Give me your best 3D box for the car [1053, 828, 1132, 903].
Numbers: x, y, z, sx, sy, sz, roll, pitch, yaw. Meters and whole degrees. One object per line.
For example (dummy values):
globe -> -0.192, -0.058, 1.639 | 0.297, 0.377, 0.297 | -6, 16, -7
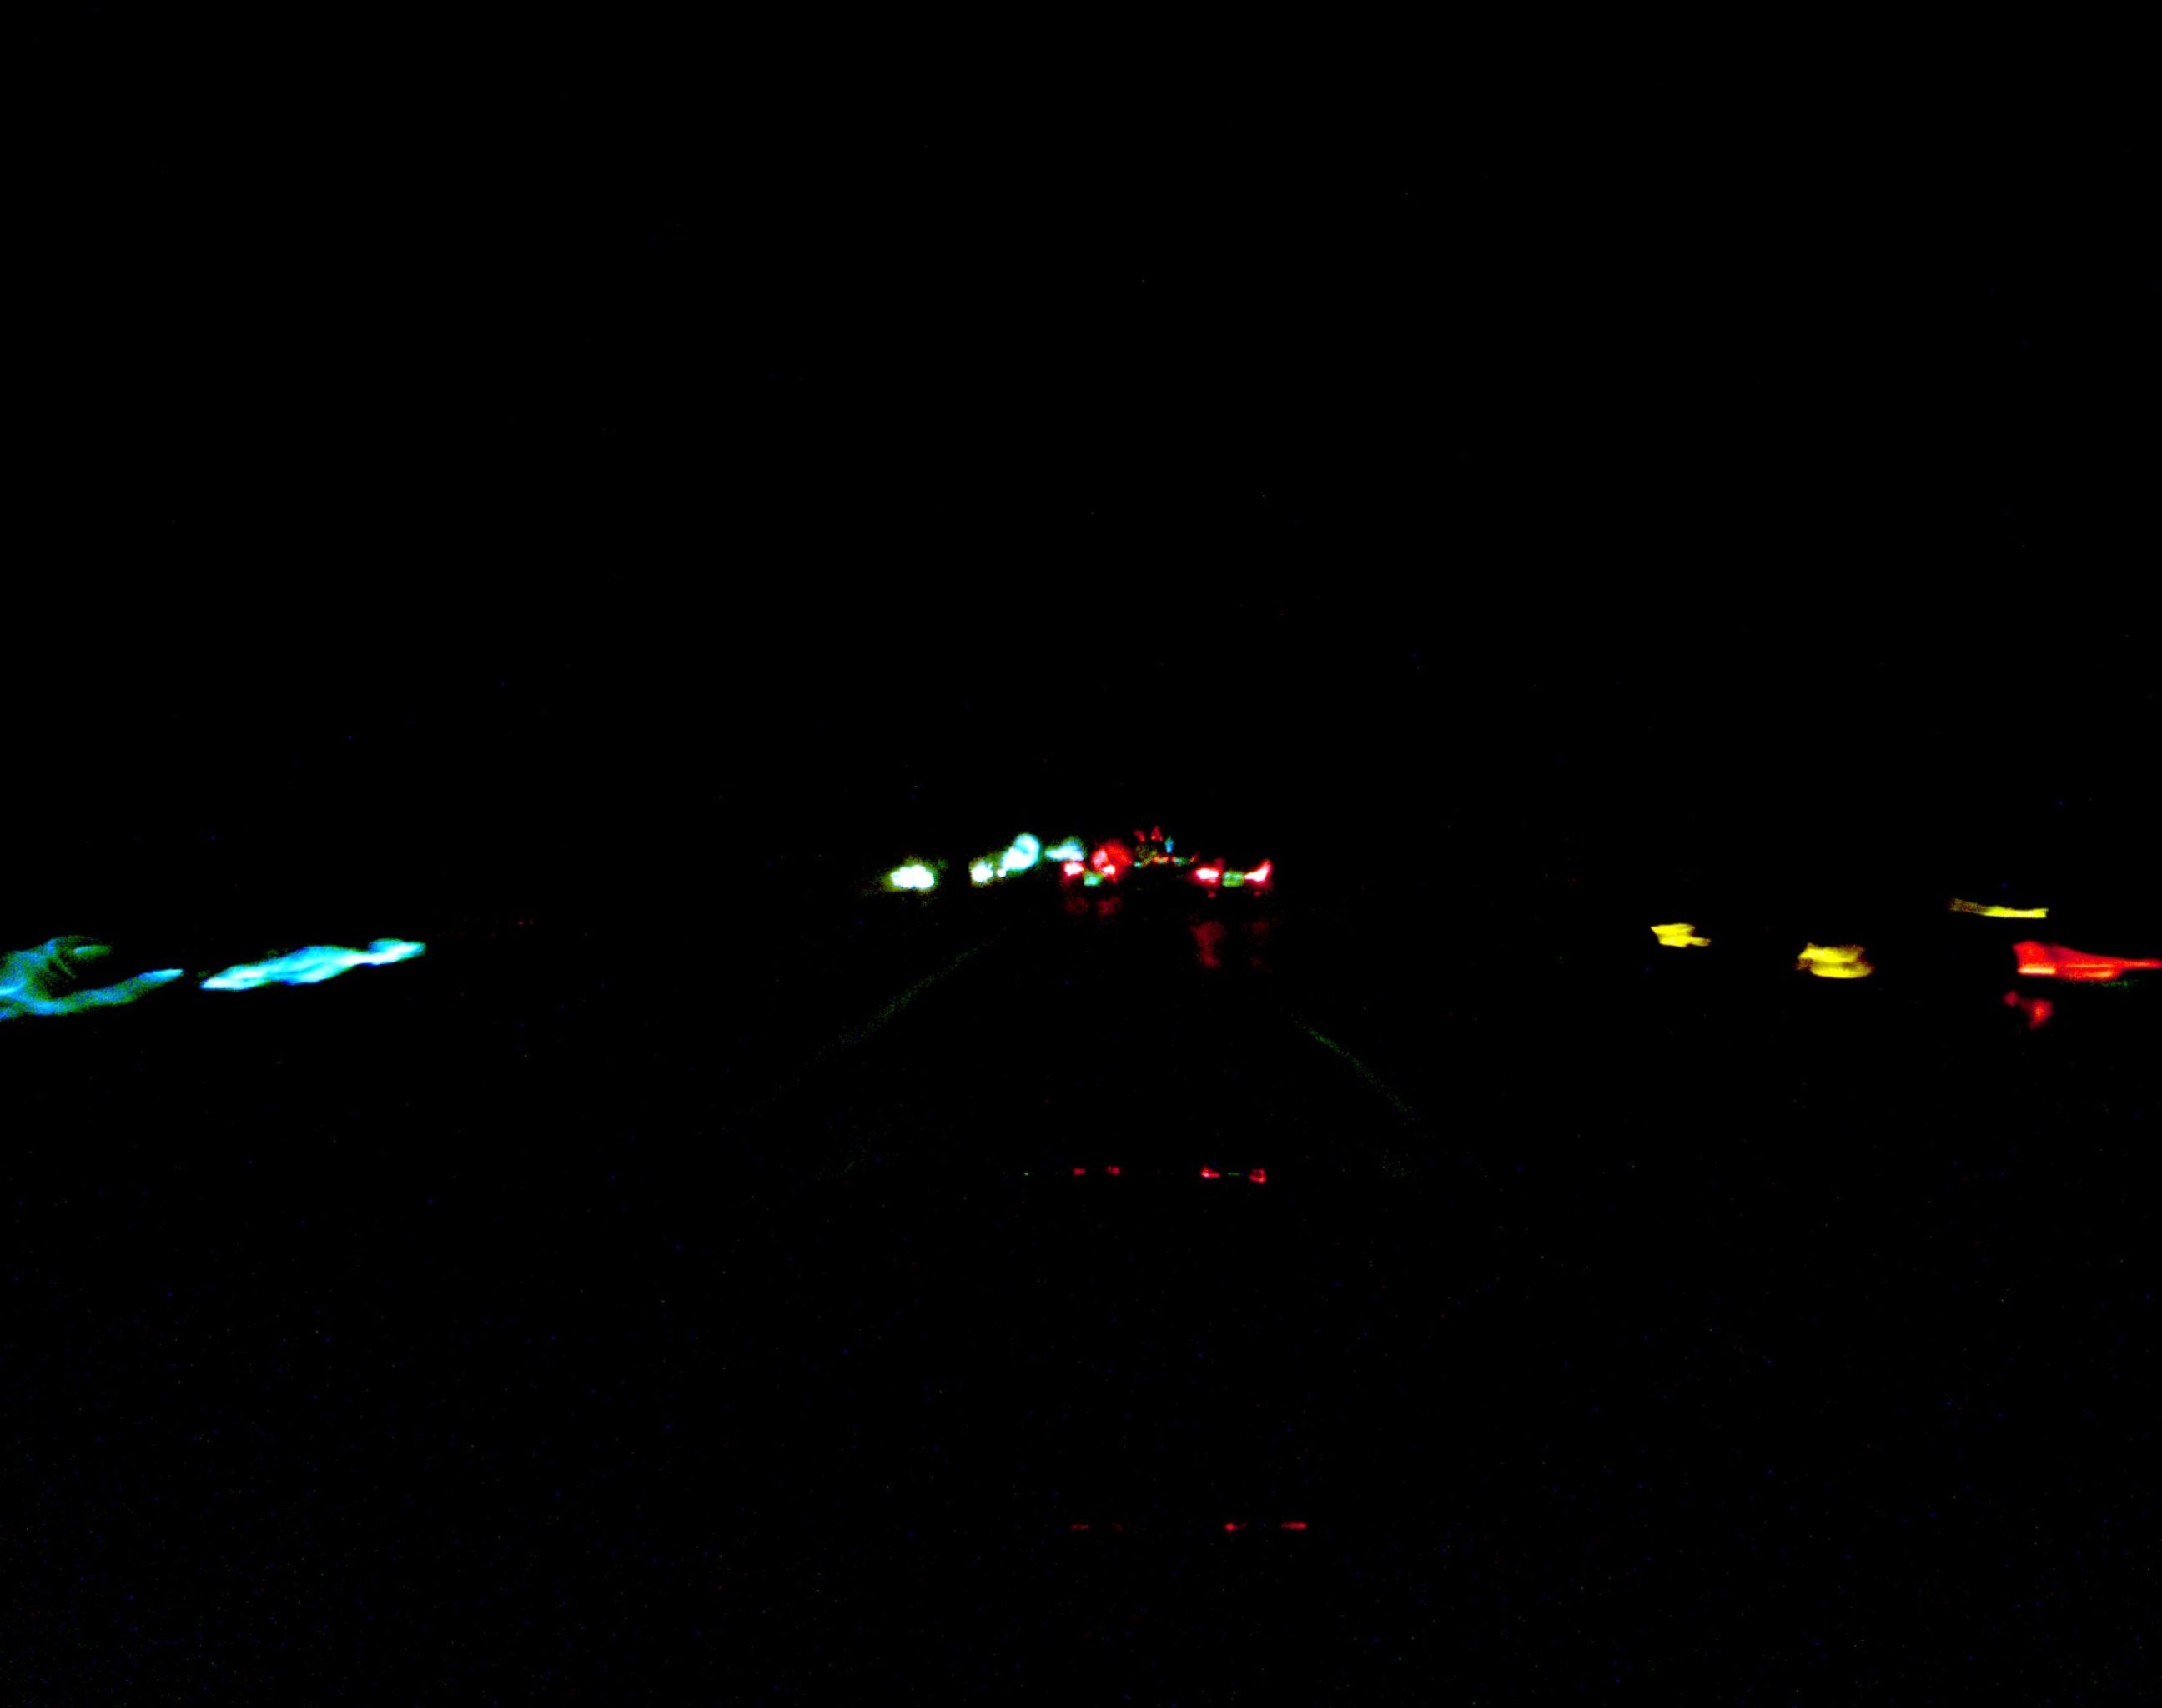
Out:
car -> 0.390, 0.385, 32.107 | 2.702, 2.534, 5.828 | -3, 0, -1

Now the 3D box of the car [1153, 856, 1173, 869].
car -> 9.947, 1.062, 99.217 | 1.888, 1.486, 4.961 | 0, 0, 0

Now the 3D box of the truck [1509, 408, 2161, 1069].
truck -> 7.638, -0.716, 8.538 | 2.848, 4.103, 7.017 | 0, 0, 2

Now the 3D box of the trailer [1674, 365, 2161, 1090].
trailer -> 7.420, -0.736, 1.715 | 2.853, 4.097, 13.648 | 0, 0, 2

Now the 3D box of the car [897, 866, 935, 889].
car -> -11.545, 1.623, 57.245 | 1.778, 1.526, 4.380 | 0, 0, 0

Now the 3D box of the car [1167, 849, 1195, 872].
car -> 9.301, 0.589, 75.973 | 2.039, 1.974, 5.409 | -3, 0, 2

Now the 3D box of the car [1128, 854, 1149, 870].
car -> 5.337, 0.769, 75.694 | 1.607, 1.412, 3.791 | -1, 0, 0

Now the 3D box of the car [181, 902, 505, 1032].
car -> -11.819, 1.717, 13.448 | 1.727, 1.508, 3.796 | -3, 0, 2

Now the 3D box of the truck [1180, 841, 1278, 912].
truck -> 3.859, 0.563, 22.051 | 1.837, 1.696, 4.855 | 0, 0, 1

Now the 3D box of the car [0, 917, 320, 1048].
car -> -15.925, 2.055, 13.902 | 1.684, 1.508, 4.274 | -3, 0, 2
